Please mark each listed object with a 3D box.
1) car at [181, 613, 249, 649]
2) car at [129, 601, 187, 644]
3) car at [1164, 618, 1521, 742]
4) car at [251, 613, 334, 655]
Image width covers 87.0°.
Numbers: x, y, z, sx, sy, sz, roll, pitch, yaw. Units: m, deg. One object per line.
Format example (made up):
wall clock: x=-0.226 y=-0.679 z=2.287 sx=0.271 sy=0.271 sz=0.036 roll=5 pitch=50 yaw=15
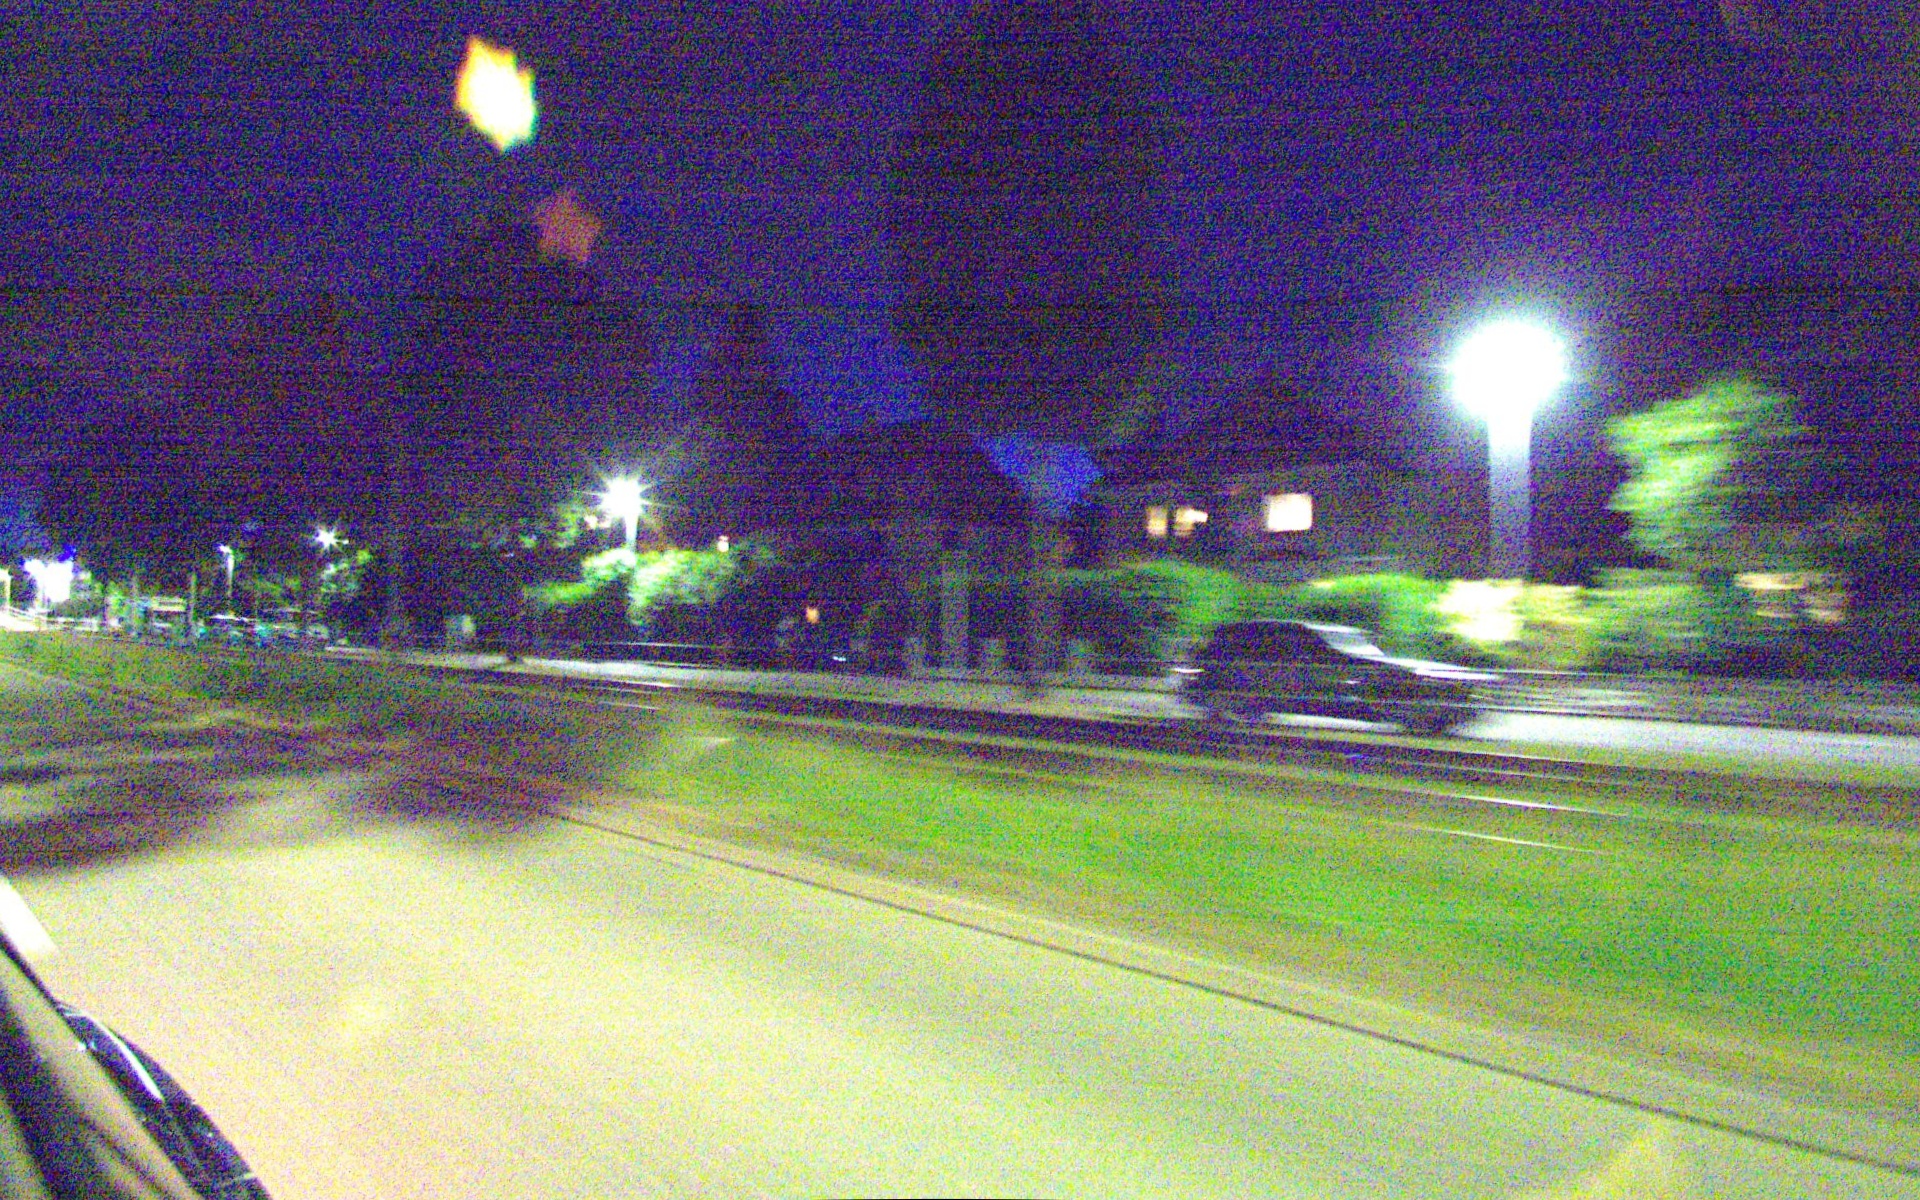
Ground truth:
car: x=-40.677 y=1.687 z=55.236 sx=4.721 sy=1.784 sz=2.096 roll=-1 pitch=-4 yaw=44
car: x=-51.047 y=1.449 z=64.373 sx=4.721 sy=2.532 sz=2.135 roll=-1 pitch=-5 yaw=44
car: x=5.571 y=1.146 z=15.139 sx=4.691 sy=1.580 sz=1.745 roll=-2 pitch=-6 yaw=41
car: x=-30.903 y=1.550 z=46.830 sx=4.721 sy=1.784 sz=2.096 roll=-1 pitch=-4 yaw=44
